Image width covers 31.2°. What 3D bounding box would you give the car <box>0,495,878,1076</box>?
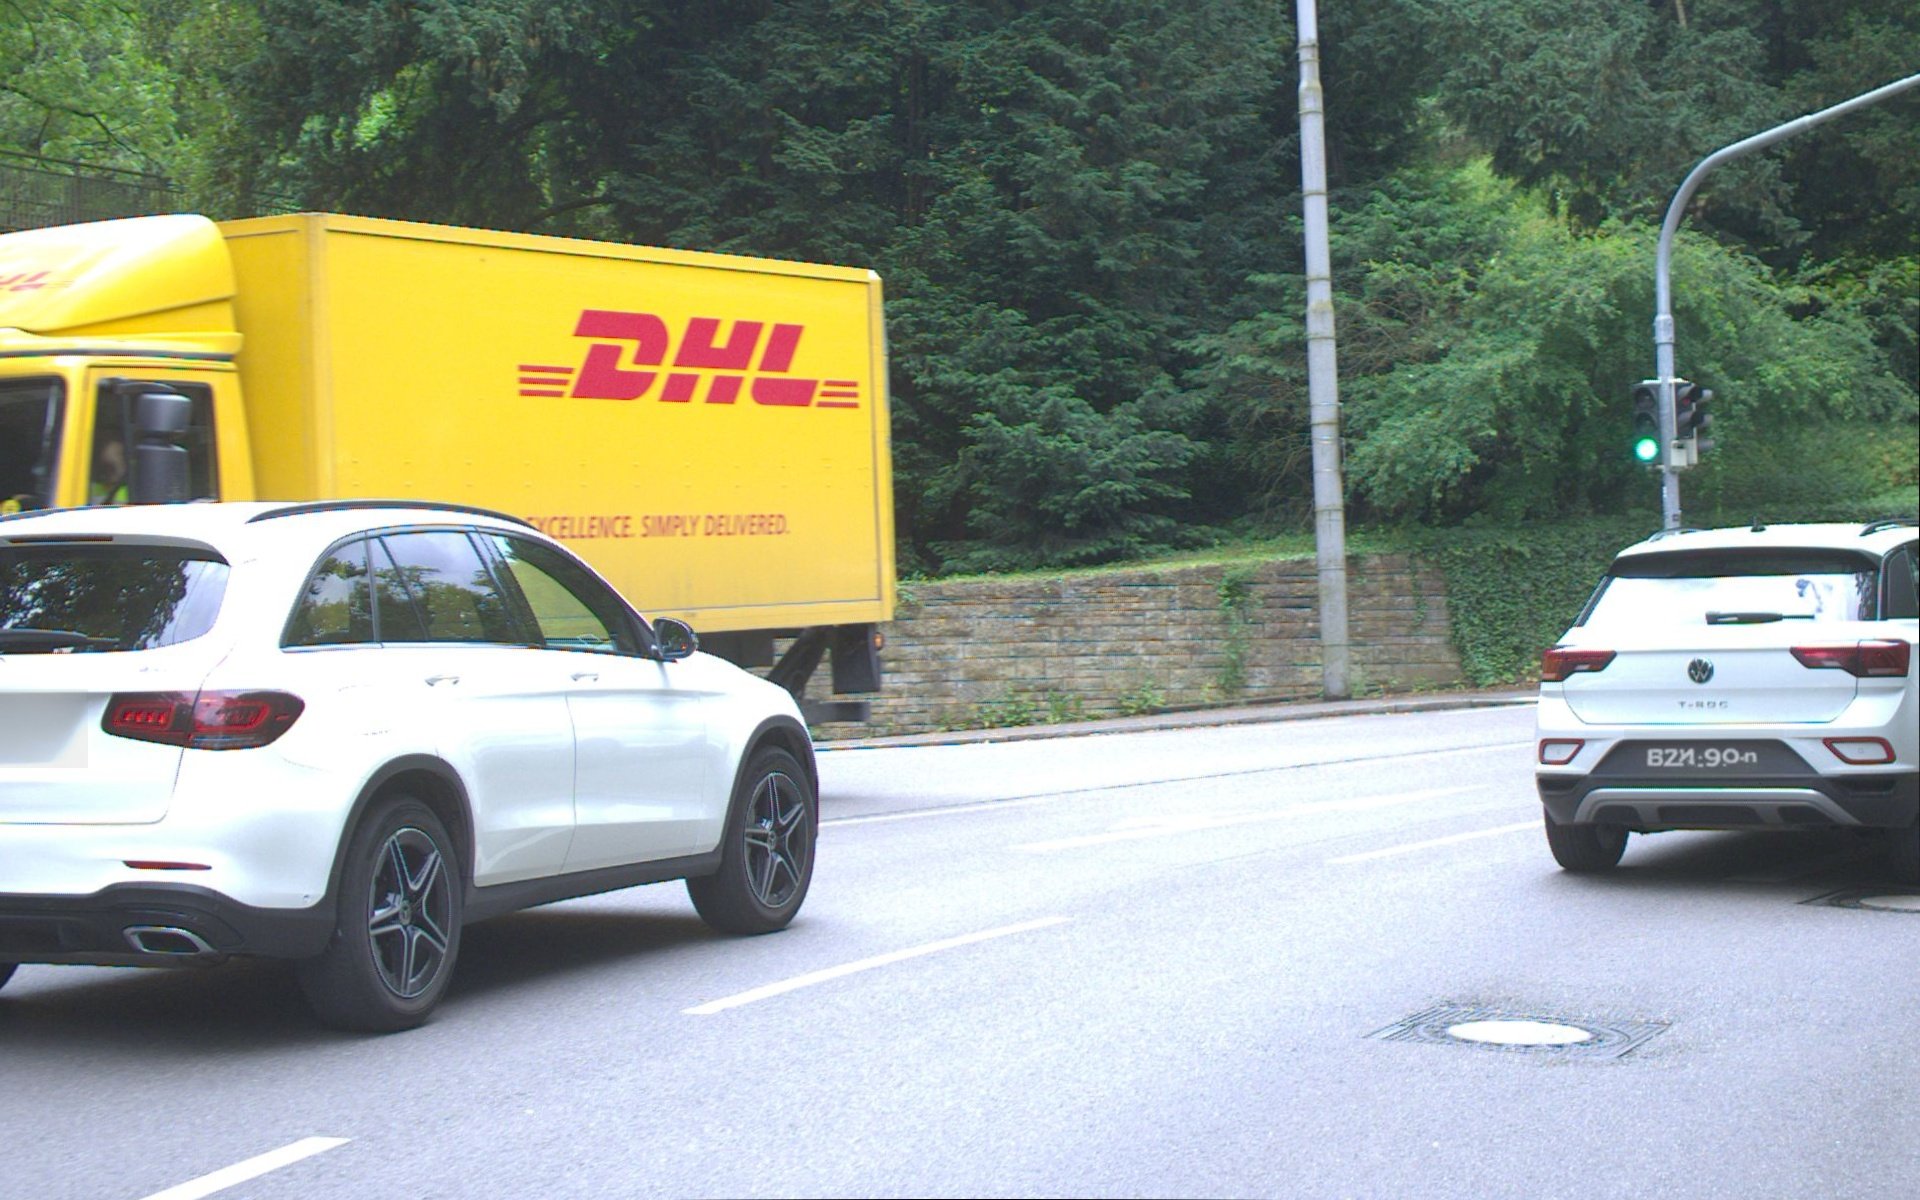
[{"bbox_3d":[-2.018,0.480,12.037,1.861,1.600,4.666,2,1,20],"label":"car"}]

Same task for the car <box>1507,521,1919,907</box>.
[{"bbox_3d":[4.138,0.408,16.201,1.757,1.547,4.331,1,2,28],"label":"car"}]

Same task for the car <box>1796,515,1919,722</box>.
[{"bbox_3d":[8.872,0.037,27.146,4.763,1.529,1.870,-3,0,-40],"label":"car"}]

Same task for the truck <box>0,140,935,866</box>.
[{"bbox_3d":[-3.349,-0.443,19.522,2.754,3.289,7.569,-1,0,32],"label":"truck"}]
